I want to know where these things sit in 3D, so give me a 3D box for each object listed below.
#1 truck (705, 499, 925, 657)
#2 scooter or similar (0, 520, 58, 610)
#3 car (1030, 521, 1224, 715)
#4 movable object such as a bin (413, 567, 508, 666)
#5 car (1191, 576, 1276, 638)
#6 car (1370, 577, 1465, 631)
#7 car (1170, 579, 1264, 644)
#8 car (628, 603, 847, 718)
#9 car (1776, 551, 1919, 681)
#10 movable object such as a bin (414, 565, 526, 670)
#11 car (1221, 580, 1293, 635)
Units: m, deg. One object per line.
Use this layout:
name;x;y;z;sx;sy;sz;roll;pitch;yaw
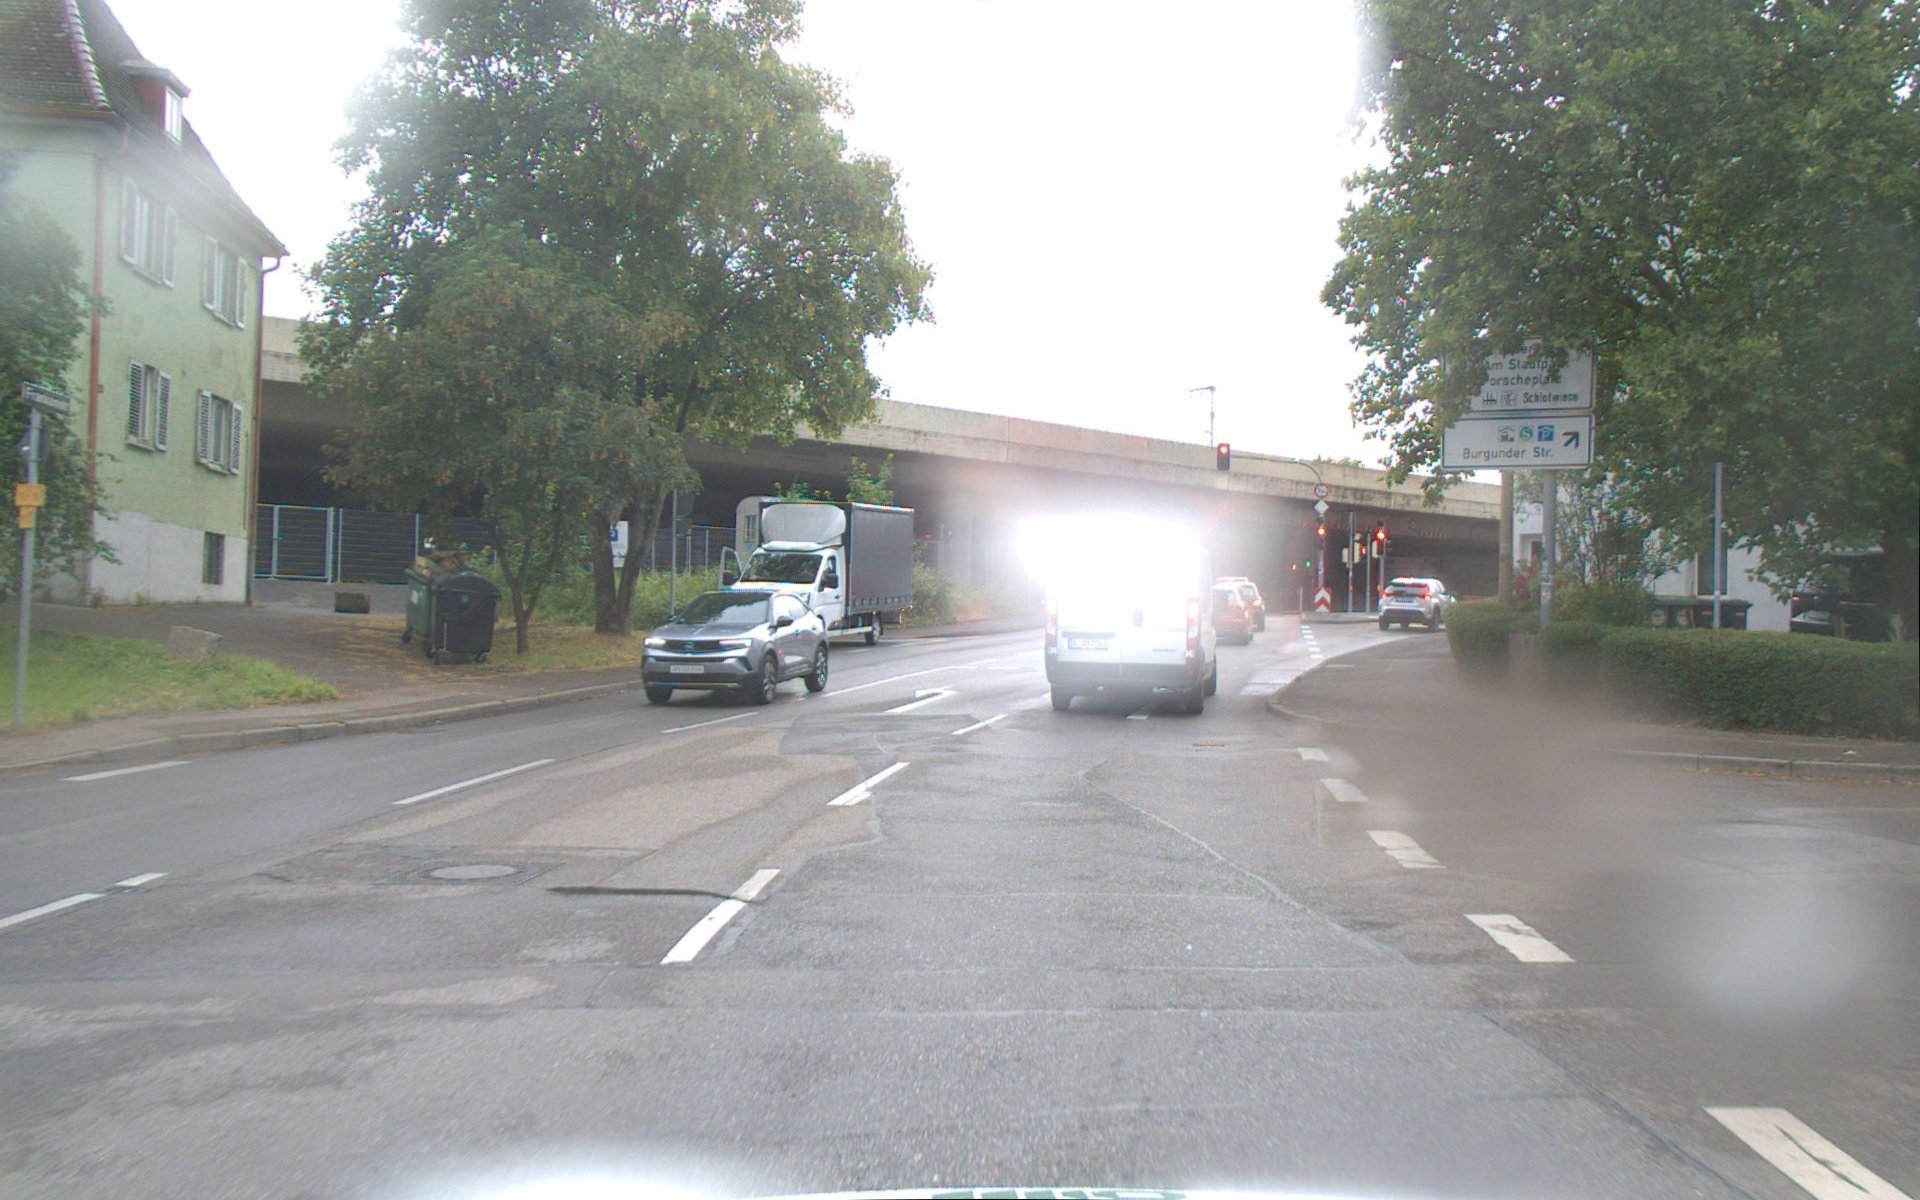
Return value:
truck;-3.173;-0.493;38.740;2.555;3.293;7.782;1;0;15
scooter or similar;-14.452;-0.559;24.824;1.488;1.295;0.531;5;0;8
car;2.486;0.183;23.287;2.256;2.384;5.287;1;1;10
movable object such as a bin;-8.509;0.265;28.136;1.087;1.461;1.447;4;4;-33
car;8.242;0.211;49.608;1.952;1.759;4.002;1;0;17
car;14.134;0.135;50.986;1.956;1.576;3.993;1;0;29
car;6.547;0.289;41.816;1.951;1.540;4.003;1;0;14
car;-3.099;0.802;23.939;1.854;1.487;4.003;0;0;13
car;15.544;0.252;26.222;4.317;1.966;1.997;0;0;-7
movable object such as a bin;-7.940;0.278;26.783;1.278;1.461;1.447;4;4;-33
car;10.043;0.262;55.774;1.951;1.759;4.002;1;0;16
